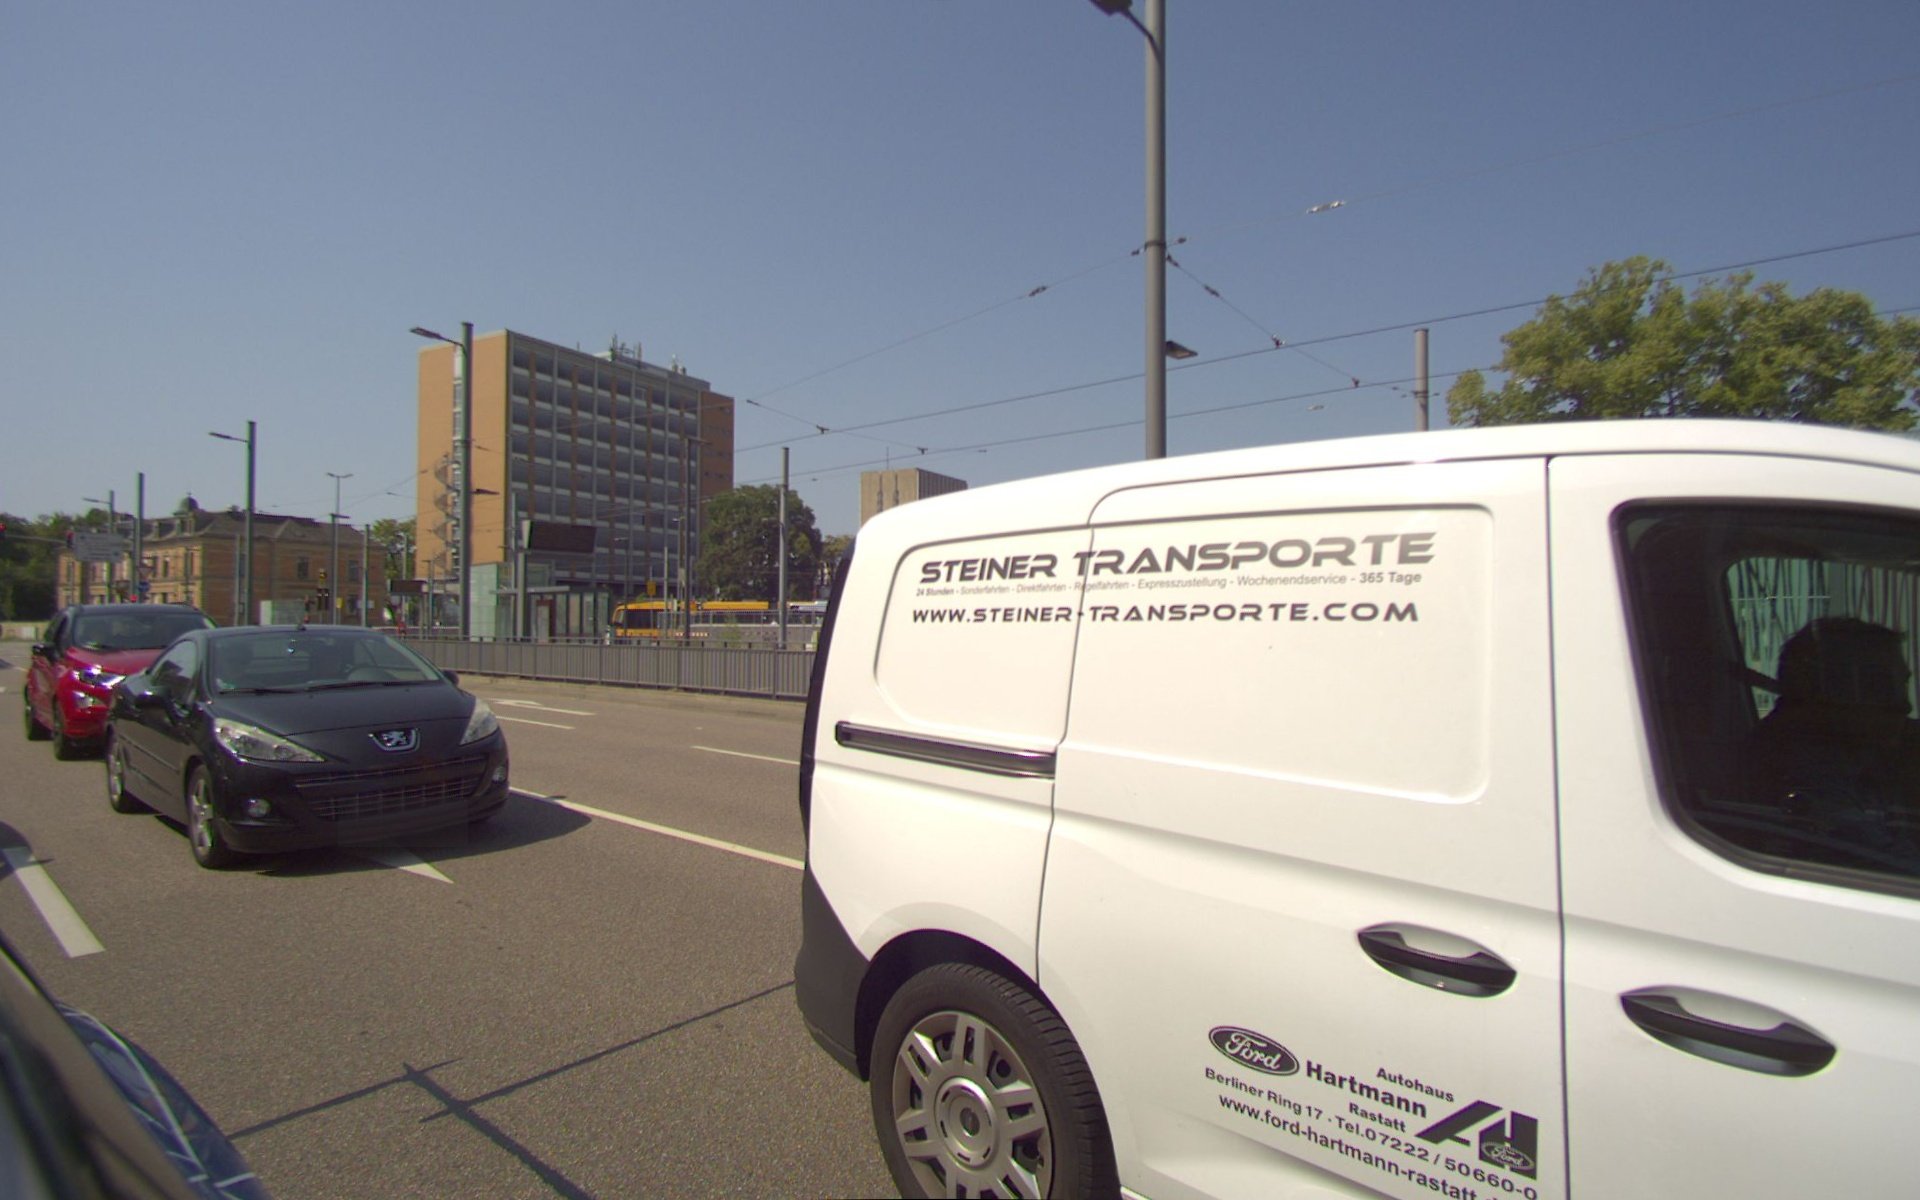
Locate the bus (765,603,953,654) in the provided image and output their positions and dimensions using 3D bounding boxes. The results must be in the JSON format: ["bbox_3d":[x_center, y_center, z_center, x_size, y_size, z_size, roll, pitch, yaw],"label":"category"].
[{"bbox_3d":[-7.271,2.021,73.595,13.205,3.319,3.354,-1,0,-4],"label":"bus"}]

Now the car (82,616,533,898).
[{"bbox_3d":[-4.705,0.848,7.083,3.799,1.424,1.671,-1,-1,41],"label":"car"}]

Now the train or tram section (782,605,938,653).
[{"bbox_3d":[-7.942,2.309,80.740,12.180,3.794,2.002,0,-2,-4],"label":"train or tram section"}]

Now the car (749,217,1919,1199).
[{"bbox_3d":[1.618,0.487,1.831,4.237,1.834,1.729,-1,-1,41],"label":"car"}]

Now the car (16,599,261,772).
[{"bbox_3d":[-9.438,0.839,11.518,3.967,1.633,1.612,-1,-1,43],"label":"car"}]

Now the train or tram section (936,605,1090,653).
[{"bbox_3d":[4.223,2.320,81.641,12.180,3.794,2.002,0,-2,-4],"label":"train or tram section"}]

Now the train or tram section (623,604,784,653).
[{"bbox_3d":[-20.104,2.228,79.838,12.180,3.794,2.002,0,-2,-4],"label":"train or tram section"}]
